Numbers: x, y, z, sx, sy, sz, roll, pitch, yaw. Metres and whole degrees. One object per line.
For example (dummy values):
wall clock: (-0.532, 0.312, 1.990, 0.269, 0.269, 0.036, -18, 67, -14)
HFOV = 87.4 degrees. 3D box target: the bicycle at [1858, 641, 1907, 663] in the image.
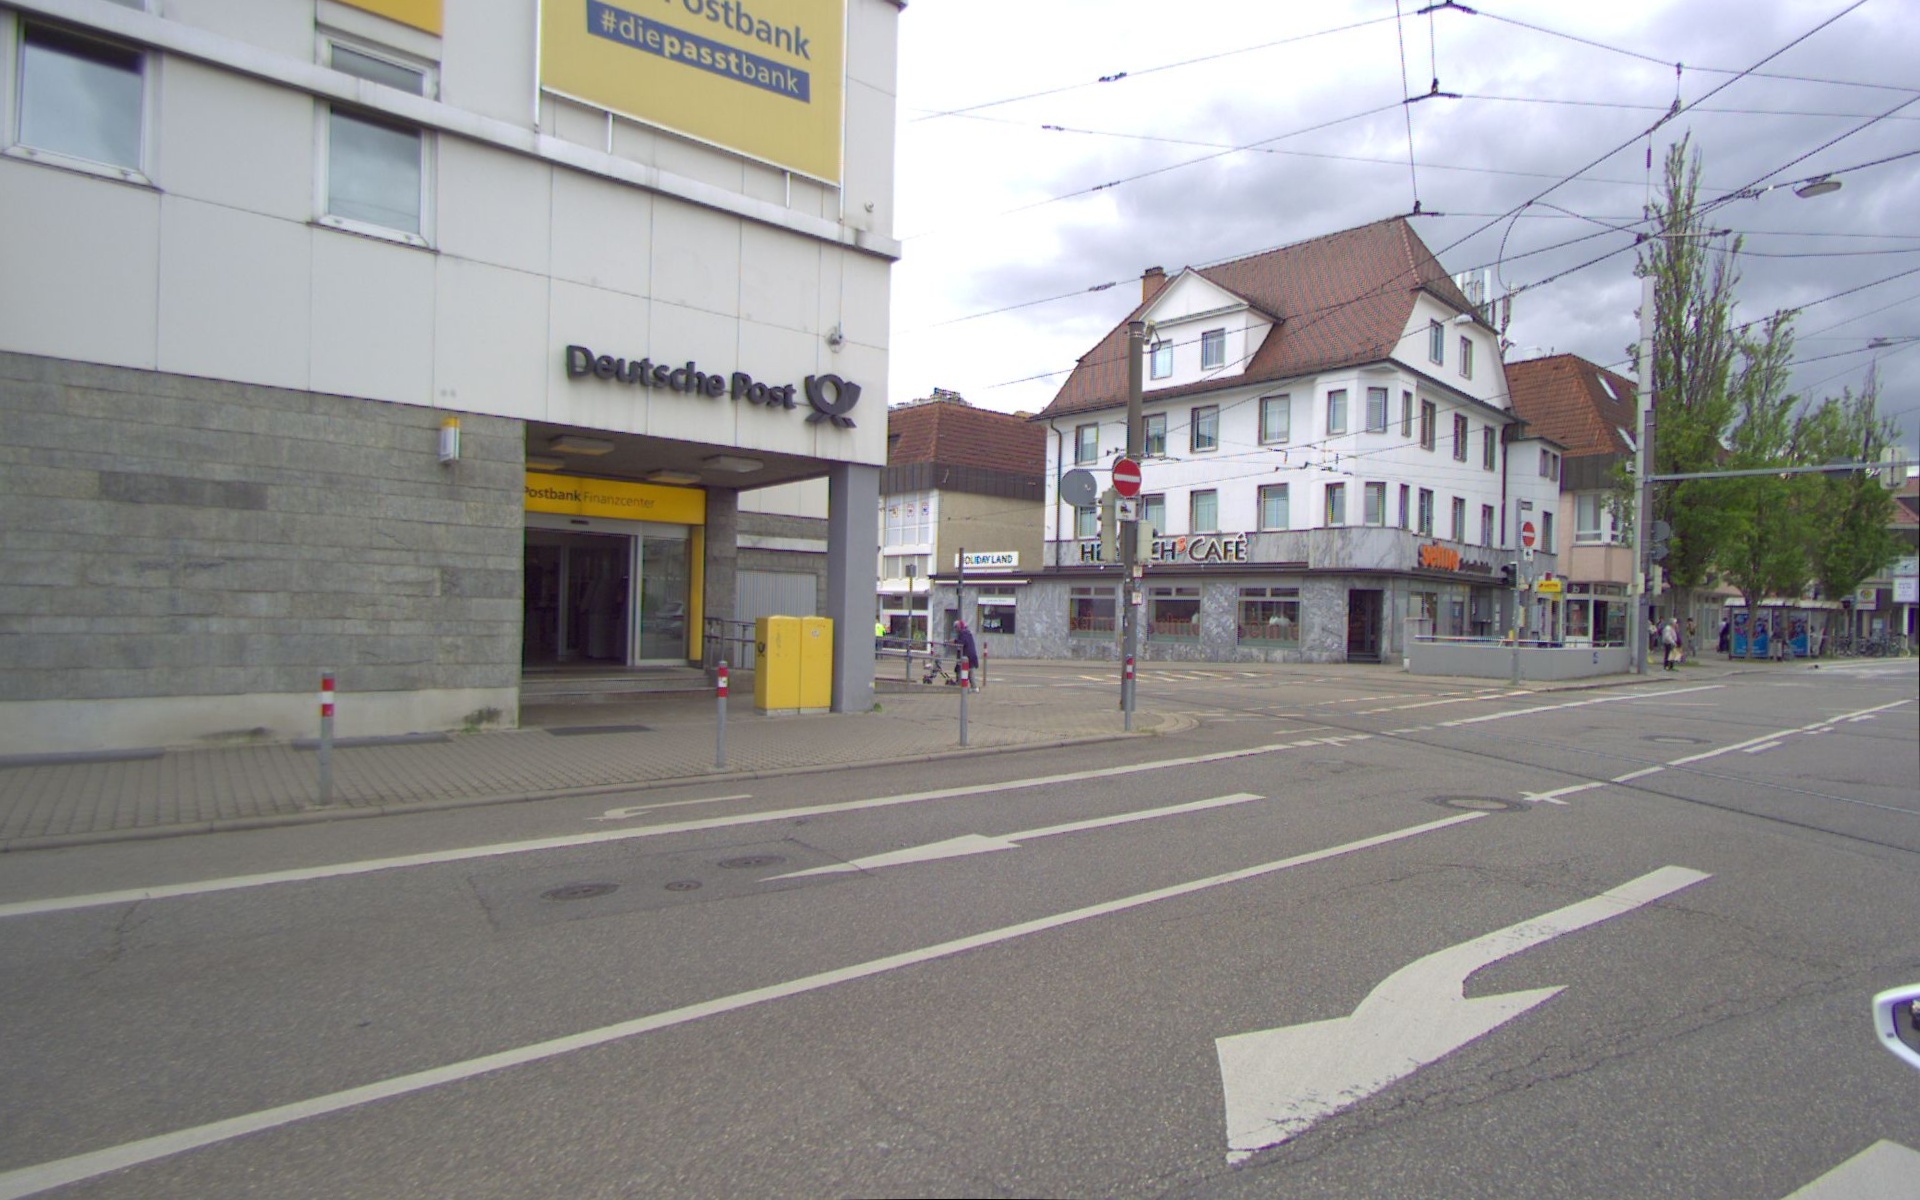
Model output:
bicycle: (49.678, 2.776, 54.102, 1.917, 1.043, 0.527, 2, 1, 44)

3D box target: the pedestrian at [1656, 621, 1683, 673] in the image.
pedestrian: (22.928, 1.504, 32.463, 0.626, 1.627, 0.701, 1, 0, 40)

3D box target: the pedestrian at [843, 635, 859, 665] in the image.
pedestrian: (-5.511, 2.520, 50.742, 0.645, 1.433, 0.500, 1, 0, 45)

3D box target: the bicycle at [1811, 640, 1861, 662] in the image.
bicycle: (45.381, 2.630, 52.053, 1.917, 1.043, 0.527, 2, 1, 44)

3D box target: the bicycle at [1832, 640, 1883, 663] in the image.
bicycle: (46.387, 2.667, 51.916, 1.917, 1.043, 0.527, 2, 1, 44)

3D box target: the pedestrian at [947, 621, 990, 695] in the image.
pedestrian: (0.165, 1.141, 19.987, 0.739, 1.433, 0.502, 1, 0, -12)

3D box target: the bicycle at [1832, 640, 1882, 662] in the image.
bicycle: (47.209, 2.692, 52.893, 1.917, 1.043, 0.527, 2, 1, 44)

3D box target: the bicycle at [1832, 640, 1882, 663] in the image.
bicycle: (46.822, 2.680, 52.428, 1.917, 1.043, 0.527, 2, 1, 44)

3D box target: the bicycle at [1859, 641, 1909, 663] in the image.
bicycle: (49.037, 2.756, 53.345, 1.917, 1.043, 0.527, 2, 1, 44)

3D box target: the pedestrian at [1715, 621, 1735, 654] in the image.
pedestrian: (38.553, 1.868, 50.626, 0.692, 1.627, 0.578, 1, 0, 32)

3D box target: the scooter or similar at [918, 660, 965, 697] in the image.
scooter or similar: (-0.372, 1.549, 19.894, 0.876, 0.701, 0.345, 1, 0, -12)

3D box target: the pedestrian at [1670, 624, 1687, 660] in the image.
pedestrian: (33.106, 1.941, 46.282, 0.571, 1.627, 0.641, 1, 0, 40)

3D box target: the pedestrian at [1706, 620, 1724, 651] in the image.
pedestrian: (40.247, 1.875, 53.541, 0.692, 1.627, 0.578, 1, 0, 32)

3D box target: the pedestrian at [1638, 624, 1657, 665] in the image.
pedestrian: (31.838, 2.061, 46.520, 0.634, 1.860, 0.577, 1, 0, 39)

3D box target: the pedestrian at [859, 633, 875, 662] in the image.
pedestrian: (-4.707, 2.370, 50.689, 0.645, 1.433, 0.500, 1, 0, 45)

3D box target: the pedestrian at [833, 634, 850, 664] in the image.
pedestrian: (-5.781, 2.380, 49.121, 0.645, 1.433, 0.500, 1, 0, 45)

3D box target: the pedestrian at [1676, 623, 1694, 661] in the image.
pedestrian: (31.863, 1.854, 44.150, 0.571, 1.627, 0.641, 1, 0, 40)
